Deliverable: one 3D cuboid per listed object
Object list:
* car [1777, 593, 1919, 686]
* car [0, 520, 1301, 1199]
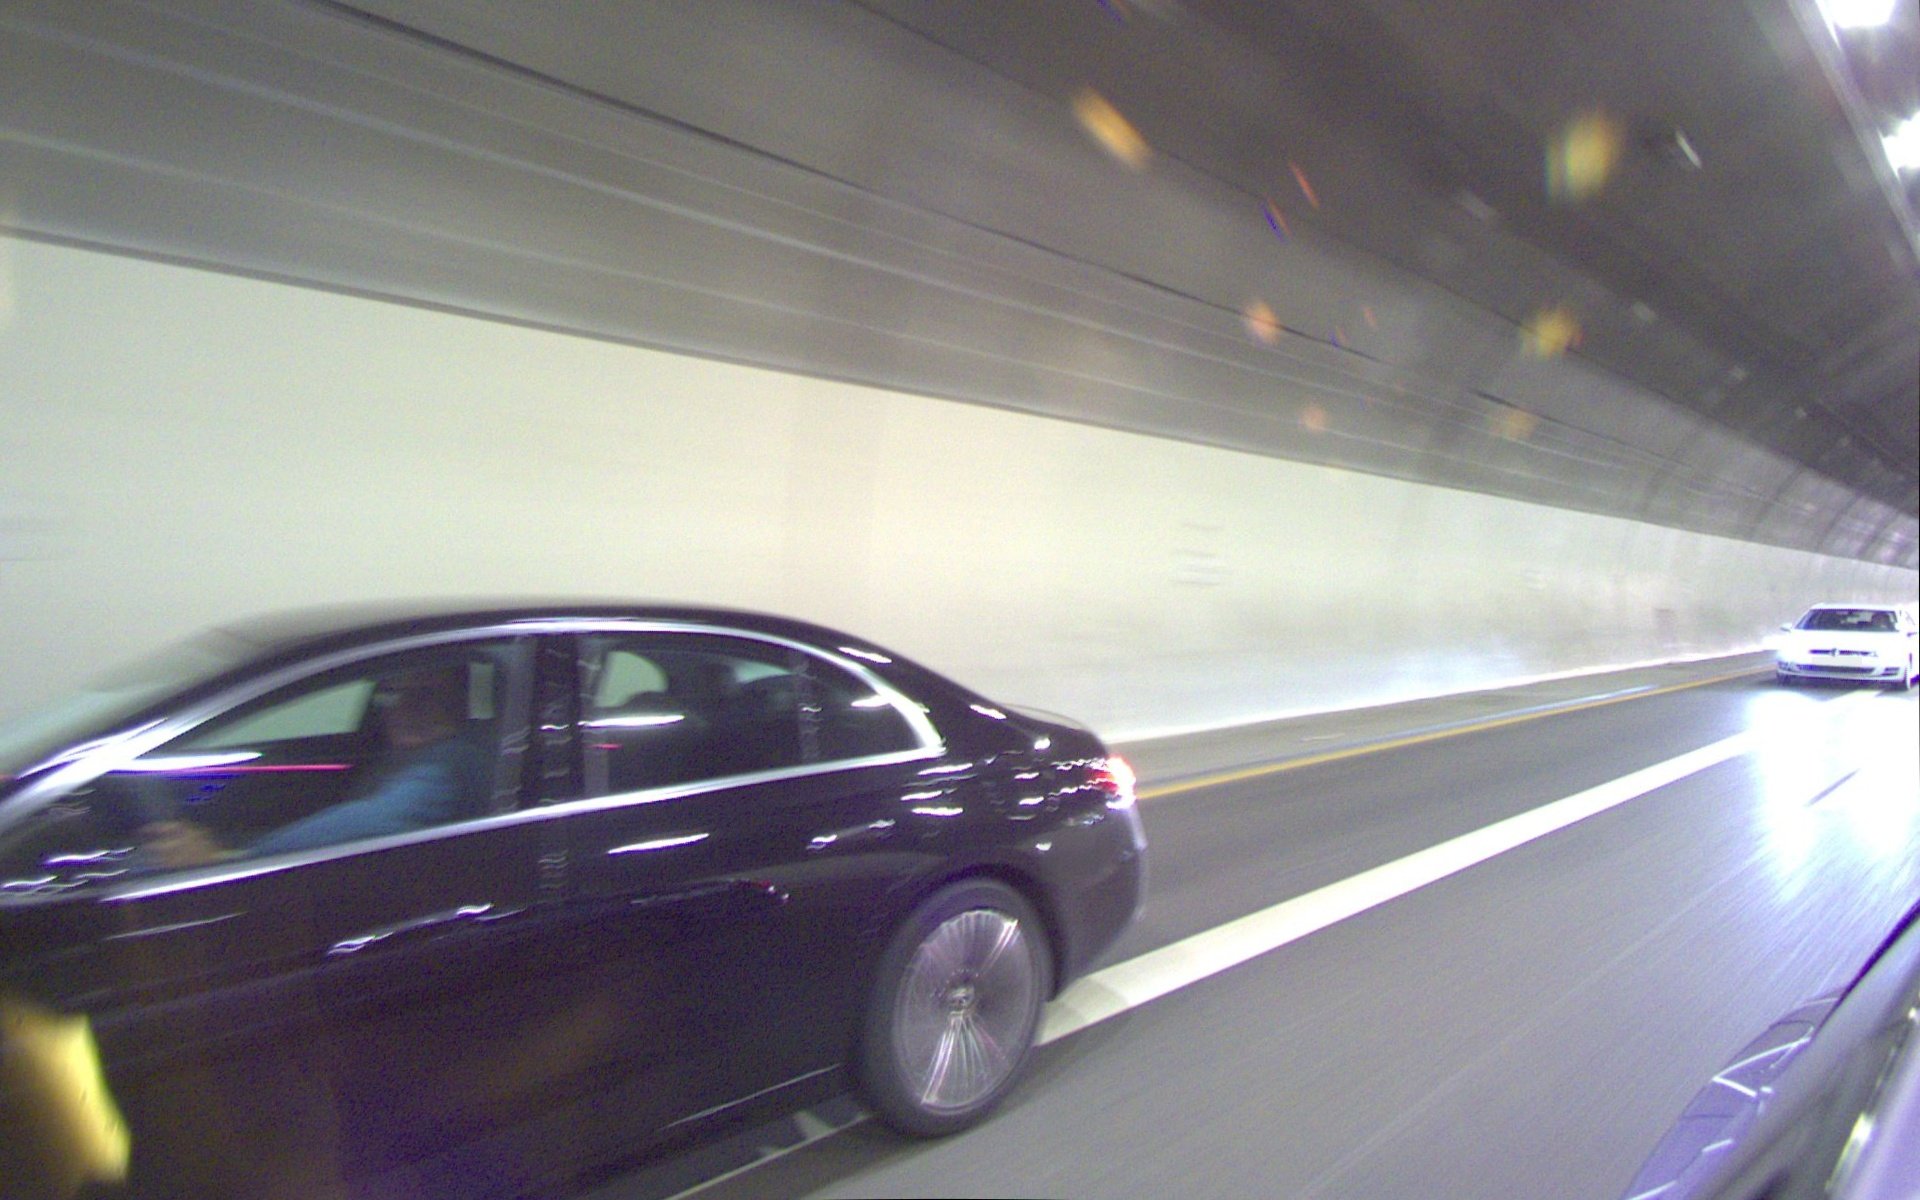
[{"bbox_3d":[16.358,0.633,18.223,3.962,1.479,1.801,0,1,-39],"label":"car"},{"bbox_3d":[-1.236,0.625,2.797,4.867,1.491,1.929,-1,0,-41],"label":"car"}]
